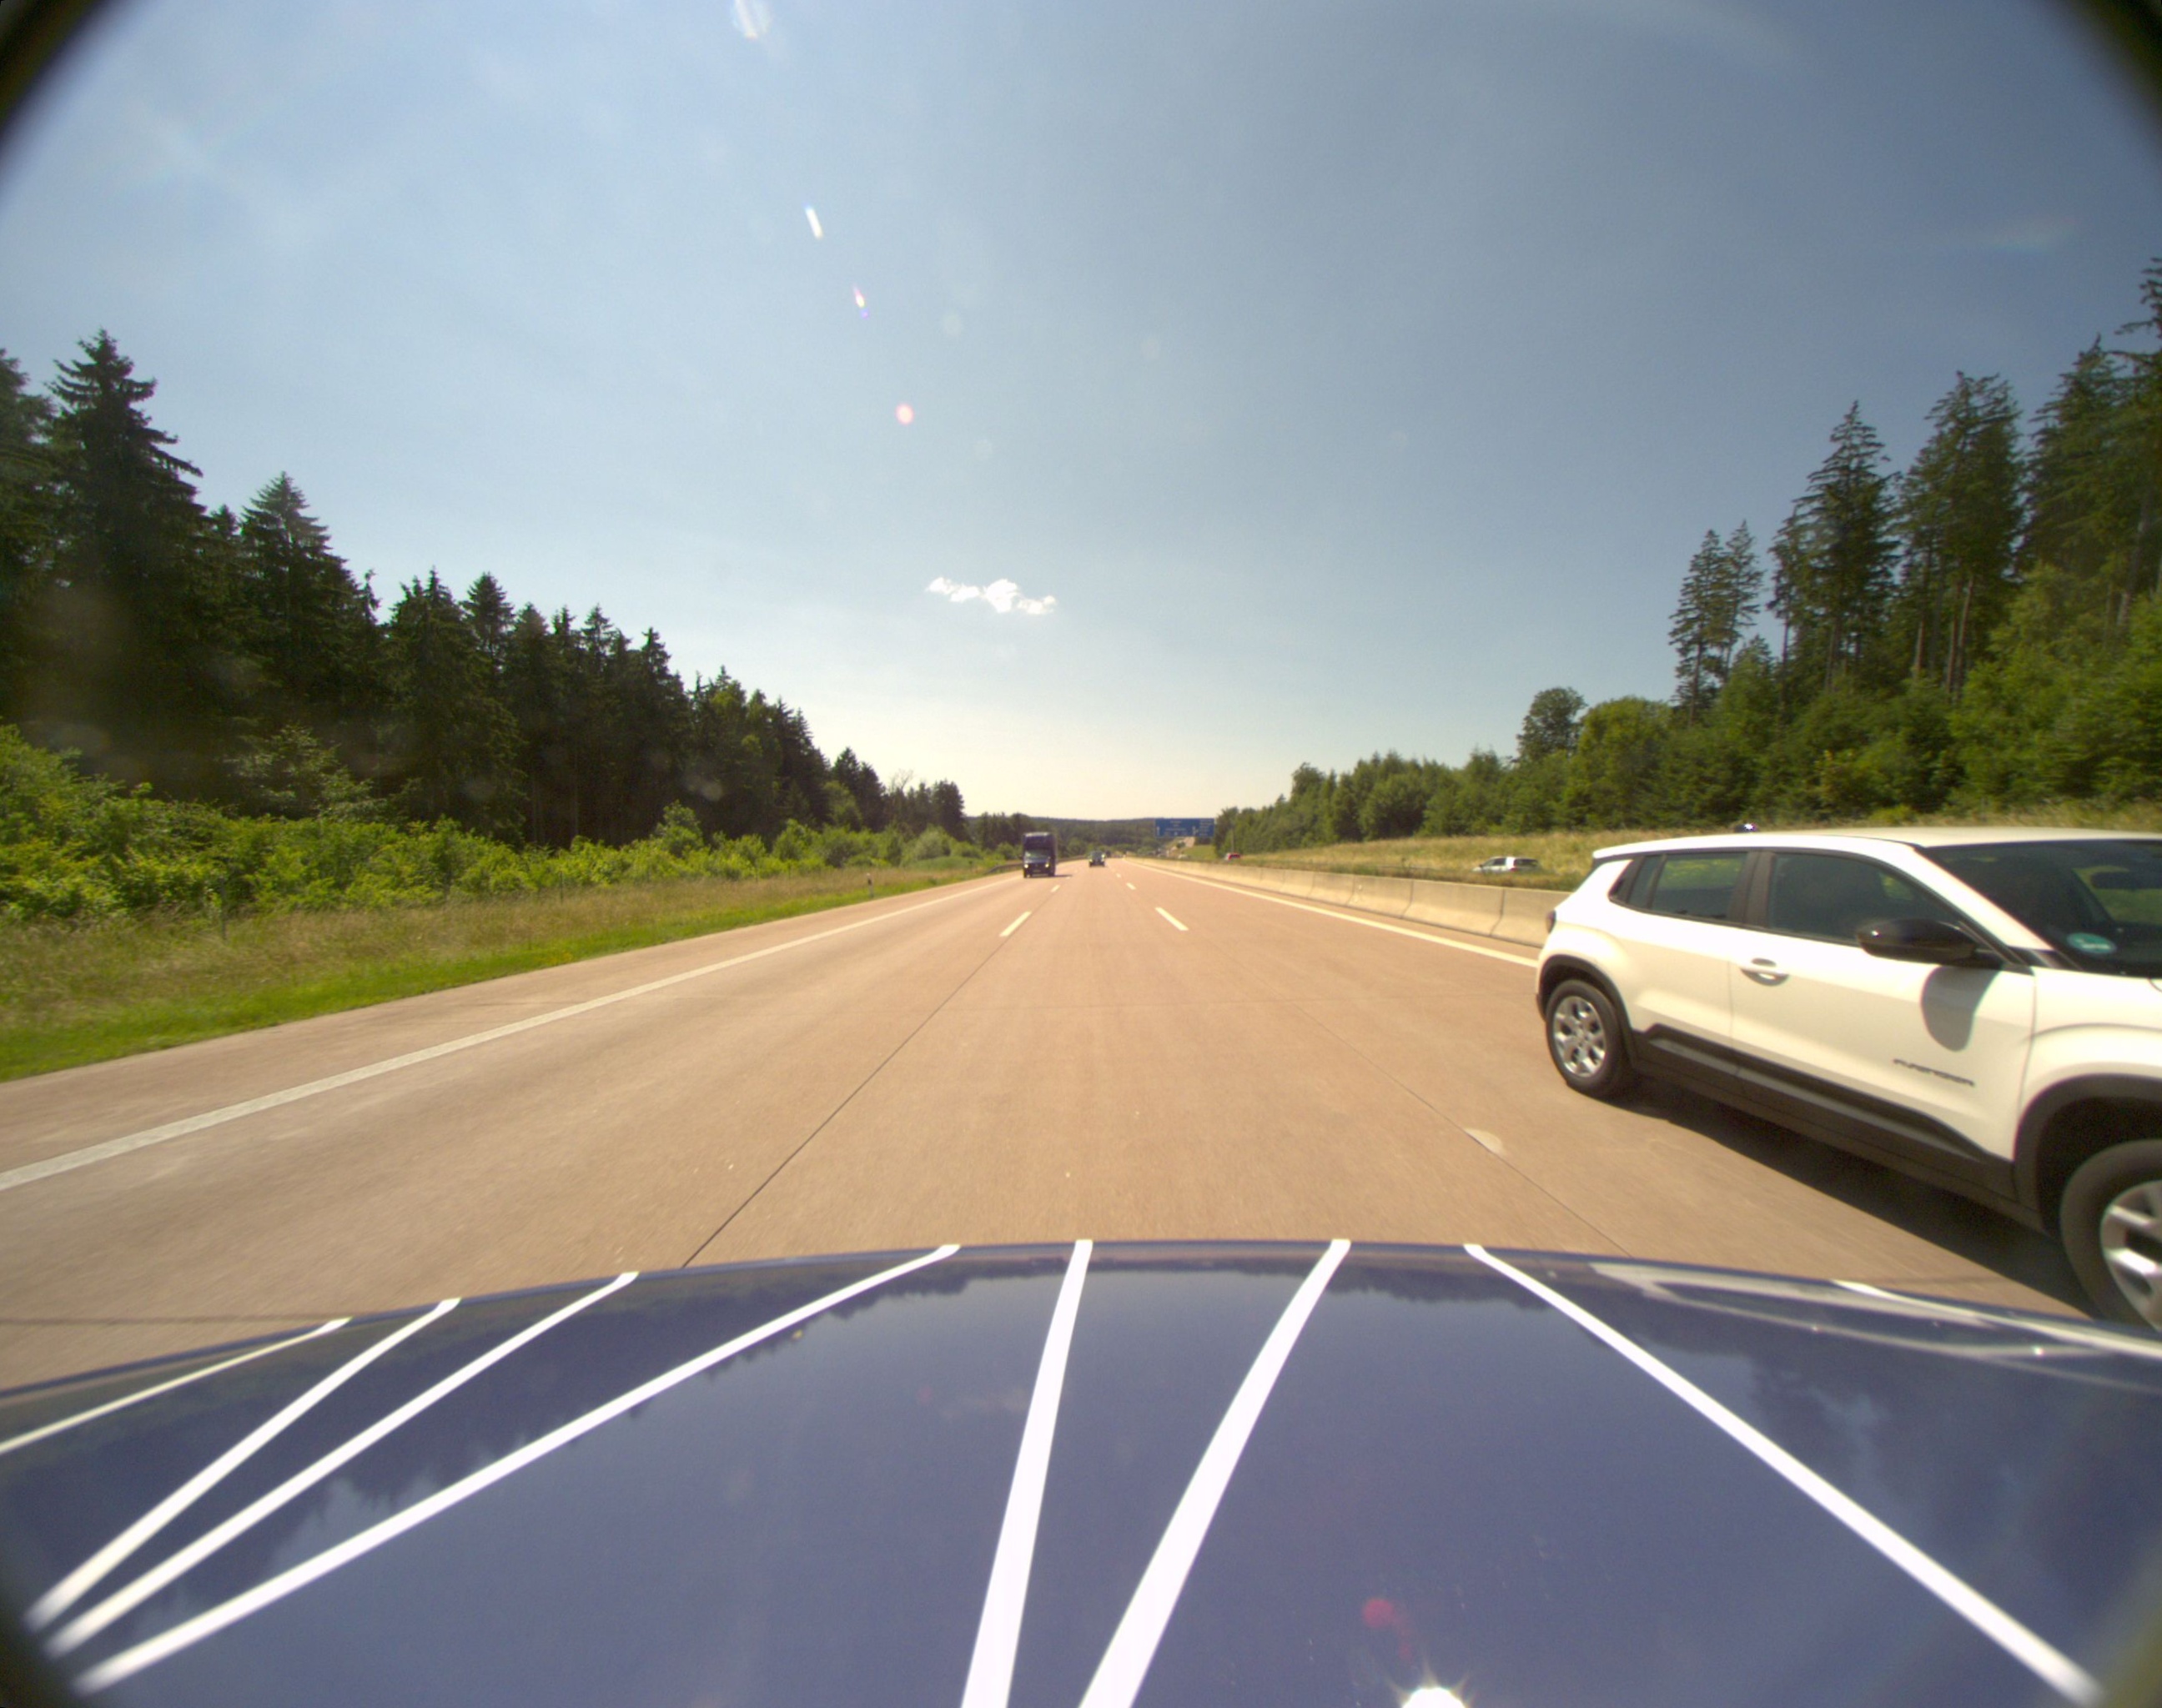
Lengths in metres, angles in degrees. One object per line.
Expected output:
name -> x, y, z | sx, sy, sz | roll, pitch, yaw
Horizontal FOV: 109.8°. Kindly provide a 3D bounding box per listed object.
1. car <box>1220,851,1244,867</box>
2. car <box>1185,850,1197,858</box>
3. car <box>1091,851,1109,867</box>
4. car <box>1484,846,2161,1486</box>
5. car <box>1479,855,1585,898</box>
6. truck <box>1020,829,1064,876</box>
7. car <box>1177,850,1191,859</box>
car -> 17.634, 0.539, 88.927 | 1.896, 1.728, 4.463 | -2, 0, 0
car -> 22.846, 0.093, 158.438 | 1.895, 1.584, 4.464 | -2, 0, 1
car -> 2.290, 0.531, 90.376 | 1.998, 1.805, 4.565 | -2, 0, 3
car -> 3.723, 0.798, 2.845 | 1.883, 1.598, 4.833 | -2, 1, 1
car -> 19.684, 0.919, 33.418 | 1.896, 1.728, 4.463 | -2, 0, -1
truck -> -2.832, -0.114, 57.121 | 2.508, 3.199, 7.785 | -2, 0, 2
car -> 18.960, 0.097, 140.100 | 1.895, 1.584, 4.464 | -2, 0, 1
